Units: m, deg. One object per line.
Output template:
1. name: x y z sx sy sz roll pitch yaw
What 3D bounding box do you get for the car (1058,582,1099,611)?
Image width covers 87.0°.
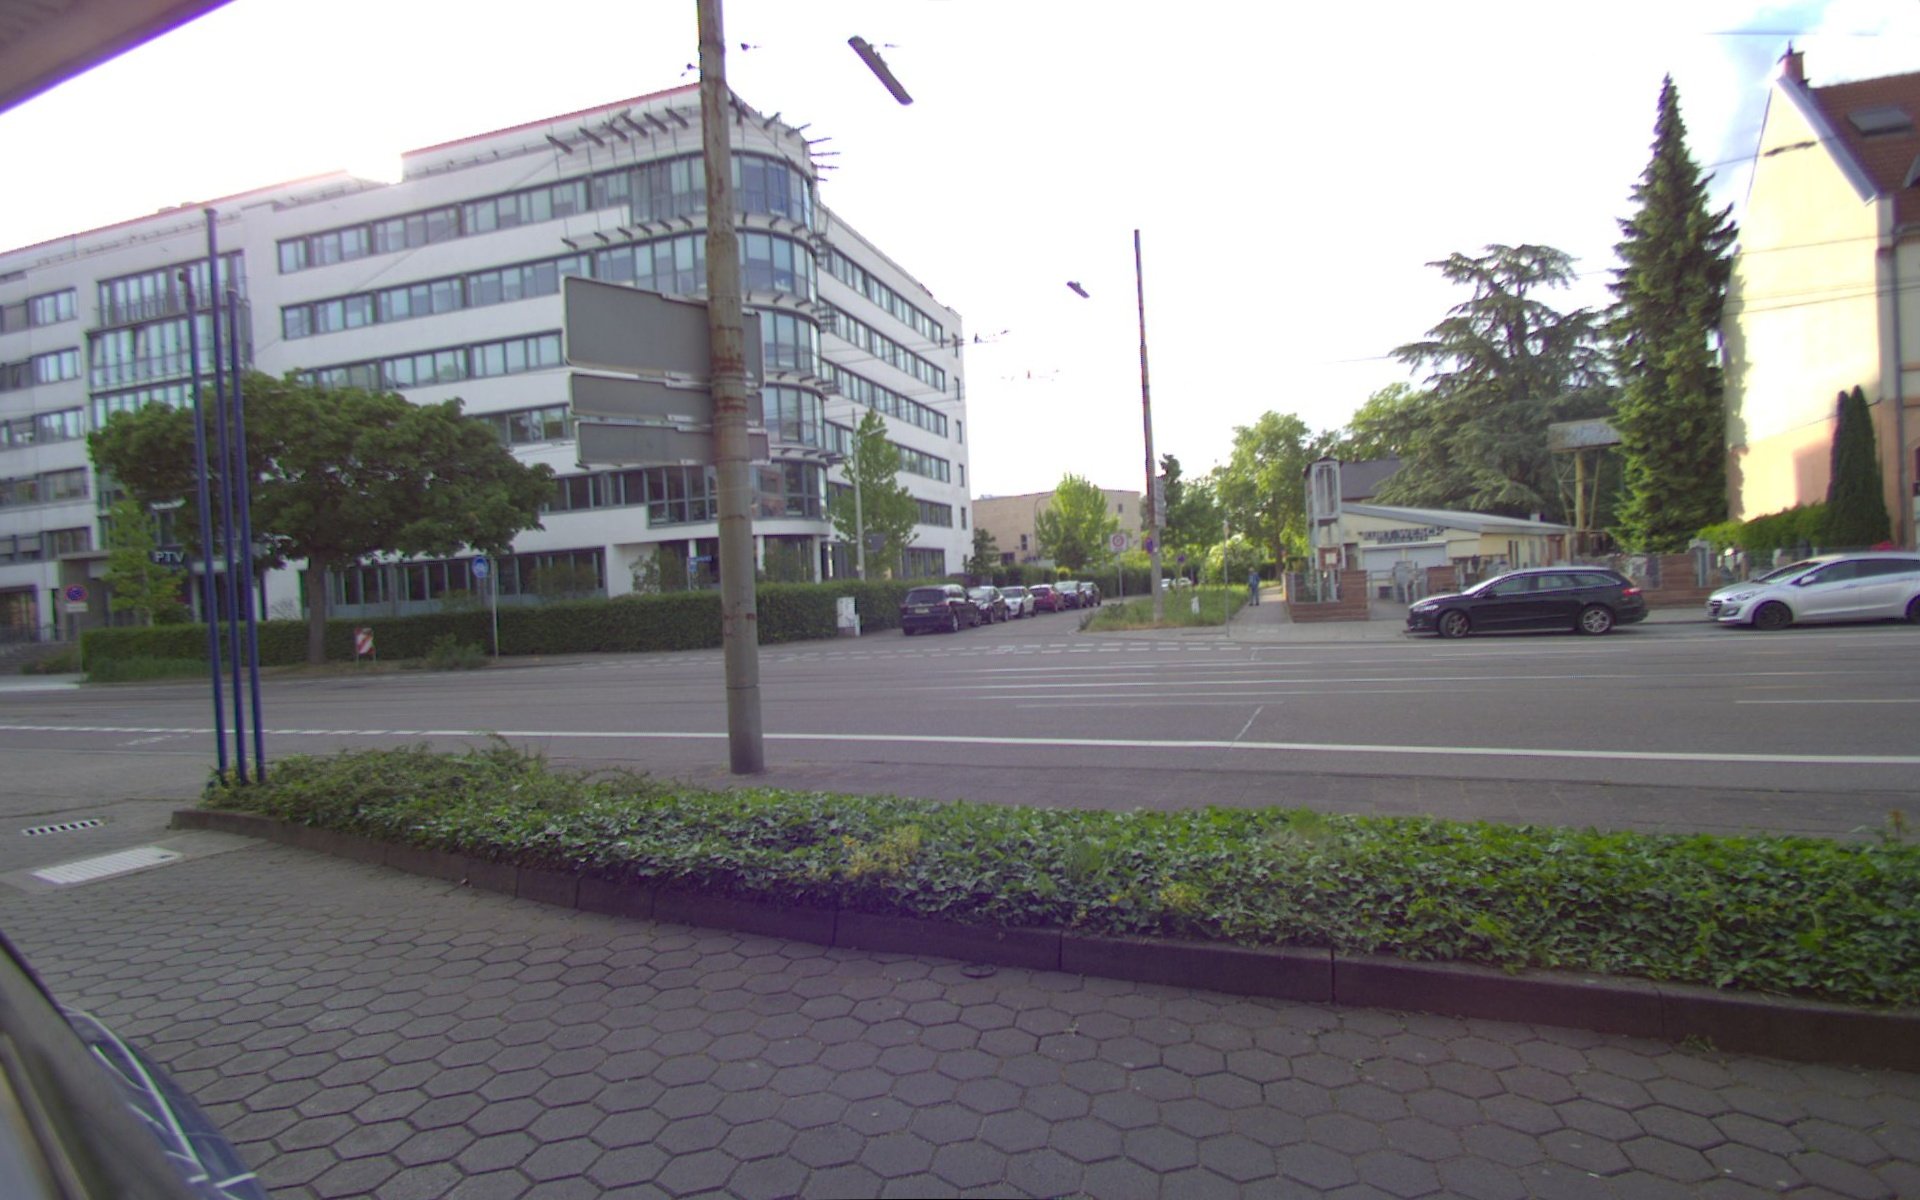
1. car: 7.378 -0.236 62.662 1.773 1.653 4.064 -4 0 17

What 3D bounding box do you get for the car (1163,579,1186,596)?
1. car: 22.569 -1.301 106.302 1.774 1.653 4.060 -4 0 19

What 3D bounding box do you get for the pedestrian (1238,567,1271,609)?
1. pedestrian: 13.118 -0.520 45.149 0.989 1.843 1.095 -1 0 -12

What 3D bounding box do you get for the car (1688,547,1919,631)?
1. car: 18.499 -0.257 21.489 4.459 1.486 1.986 -4 0 22

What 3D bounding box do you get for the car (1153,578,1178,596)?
1. car: 20.431 -1.272 100.605 1.774 1.653 4.060 -4 0 19

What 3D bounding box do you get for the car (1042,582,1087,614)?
1. car: 5.987 -0.138 57.652 1.773 1.653 4.064 -4 0 17

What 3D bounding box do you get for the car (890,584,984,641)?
1. car: -0.716 0.379 35.527 1.962 1.625 4.411 -4 2 17

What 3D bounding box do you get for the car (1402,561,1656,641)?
1. car: 12.923 0.043 23.406 4.791 1.507 1.986 -3 0 22

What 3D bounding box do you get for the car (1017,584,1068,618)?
1. car: 4.293 0.021 52.351 1.773 1.552 4.018 -4 0 17

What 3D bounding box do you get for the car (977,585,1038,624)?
1. car: 2.212 0.173 45.746 1.773 1.565 4.083 -4 0 17

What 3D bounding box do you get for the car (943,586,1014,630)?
1. car: 0.804 0.287 40.884 1.773 1.565 4.083 -4 0 17
